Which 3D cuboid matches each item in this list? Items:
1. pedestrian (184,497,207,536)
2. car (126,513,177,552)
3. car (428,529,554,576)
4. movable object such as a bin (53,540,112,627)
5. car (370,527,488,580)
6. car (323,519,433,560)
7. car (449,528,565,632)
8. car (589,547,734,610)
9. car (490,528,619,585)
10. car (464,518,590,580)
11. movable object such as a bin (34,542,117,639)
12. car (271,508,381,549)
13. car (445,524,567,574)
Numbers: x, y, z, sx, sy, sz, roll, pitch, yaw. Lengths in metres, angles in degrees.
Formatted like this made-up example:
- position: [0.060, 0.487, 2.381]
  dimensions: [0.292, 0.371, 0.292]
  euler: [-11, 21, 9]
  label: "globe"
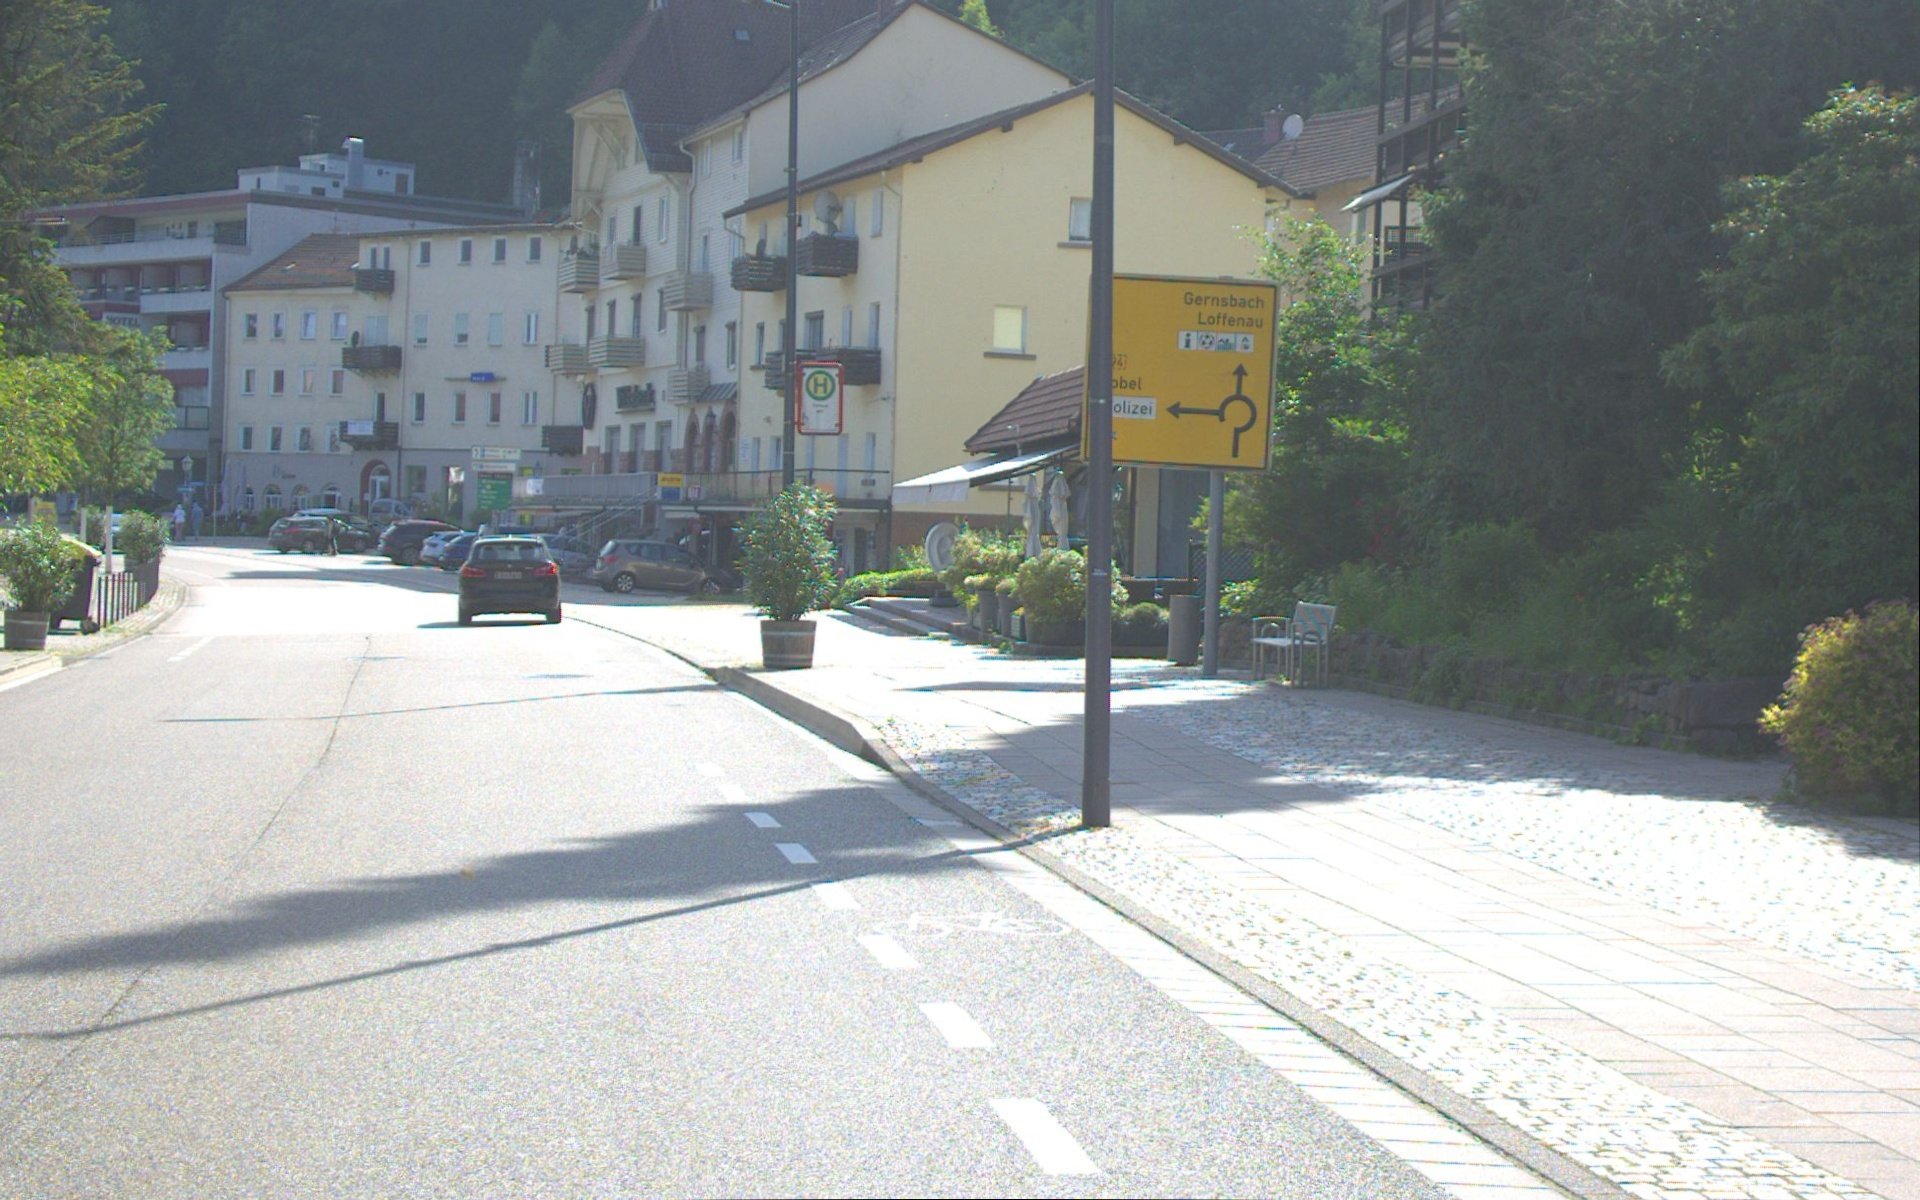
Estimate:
- position: [-34.311, -3.738, 154.298]
  dimensions: [0.669, 1.722, 0.707]
  euler: [2, 1, -40]
  label: "pedestrian"
- position: [-30.821, -2.583, 131.144]
  dimensions: [1.741, 1.457, 4.188]
  euler: [0, 1, -11]
  label: "car"
- position: [-17.242, -1.748, 126.395]
  dimensions: [4.355, 1.456, 1.773]
  euler: [3, -1, -15]
  label: "car"
- position: [-14.169, -0.273, 55.537]
  dimensions: [0.755, 1.337, 1.295]
  euler: [3, 1, -10]
  label: "movable object such as a bin"
- position: [-20.173, -1.759, 130.589]
  dimensions: [4.082, 1.660, 1.773]
  euler: [5, 0, -17]
  label: "car"
- position: [-23.424, -2.457, 138.351]
  dimensions: [4.010, 1.511, 1.772]
  euler: [-2, 5, -37]
  label: "car"
- position: [-8.031, -0.383, 60.689]
  dimensions: [1.727, 1.569, 3.754]
  euler: [3, 3, -11]
  label: "car"
- position: [-8.855, -0.646, 101.953]
  dimensions: [3.858, 1.549, 1.761]
  euler: [4, 0, -20]
  label: "car"
- position: [-13.587, -1.466, 115.095]
  dimensions: [3.908, 1.583, 1.775]
  euler: [4, 1, -17]
  label: "car"
- position: [-14.814, -1.743, 117.629]
  dimensions: [3.908, 1.798, 1.858]
  euler: [5, 0, -17]
  label: "car"
- position: [-13.783, -0.153, 53.630]
  dimensions: [1.078, 1.422, 1.377]
  euler: [3, 1, -10]
  label: "movable object such as a bin"
- position: [-25.892, -2.931, 140.384]
  dimensions: [3.986, 1.656, 2.000]
  euler: [-1, 2, -28]
  label: "car"
- position: [-15.860, -1.779, 120.134]
  dimensions: [3.908, 1.456, 1.737]
  euler: [4, 1, -17]
  label: "car"
